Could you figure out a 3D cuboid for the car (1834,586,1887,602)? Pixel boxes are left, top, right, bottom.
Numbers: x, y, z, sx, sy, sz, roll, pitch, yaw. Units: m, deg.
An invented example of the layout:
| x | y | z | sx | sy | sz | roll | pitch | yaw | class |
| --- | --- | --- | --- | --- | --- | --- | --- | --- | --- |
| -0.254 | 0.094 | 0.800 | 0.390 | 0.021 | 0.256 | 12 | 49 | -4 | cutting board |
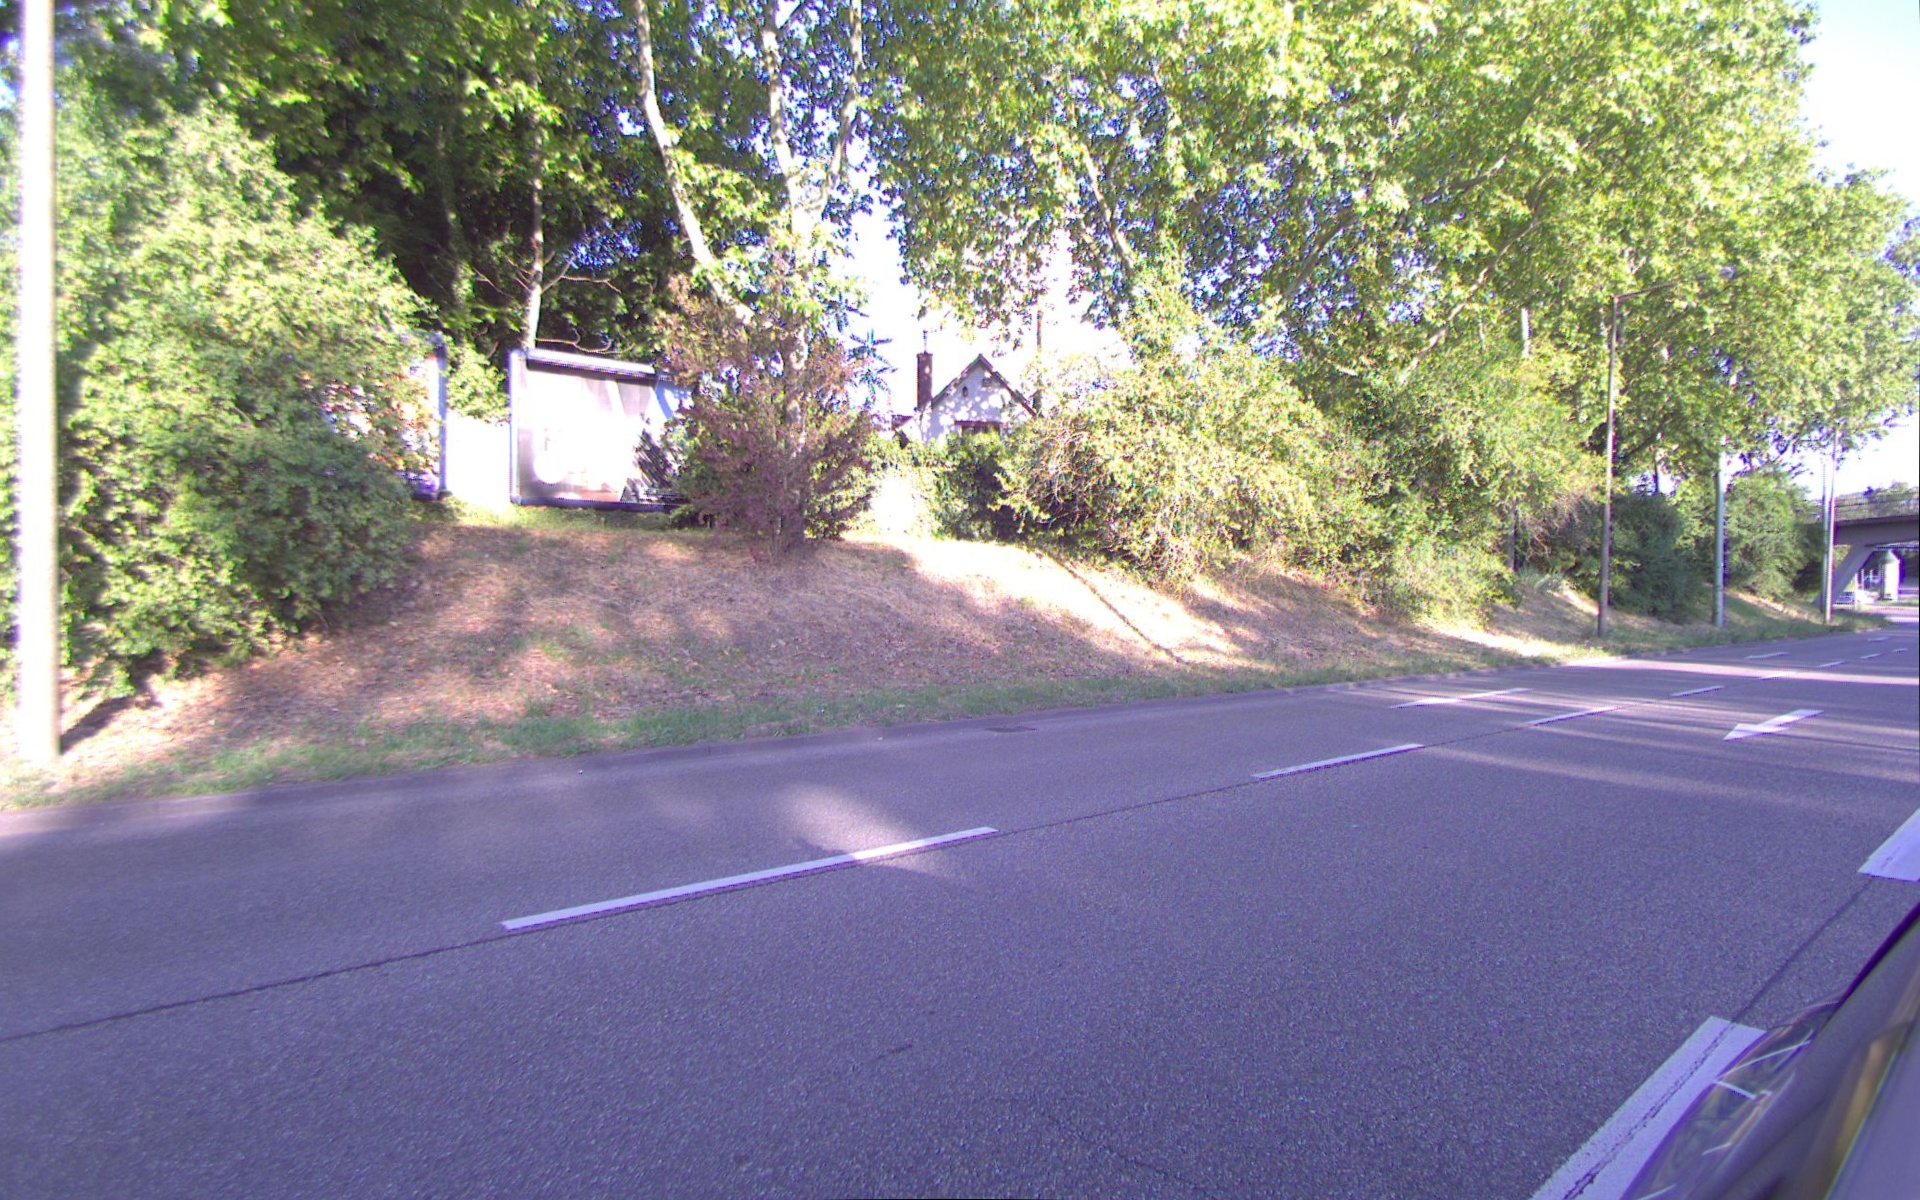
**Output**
| x | y | z | sx | sy | sz | roll | pitch | yaw | class |
| --- | --- | --- | --- | --- | --- | --- | --- | --- | --- |
| 89.208 | -0.577 | 100.282 | 1.628 | 1.531 | 3.663 | -1 | 1 | -16 | car |
